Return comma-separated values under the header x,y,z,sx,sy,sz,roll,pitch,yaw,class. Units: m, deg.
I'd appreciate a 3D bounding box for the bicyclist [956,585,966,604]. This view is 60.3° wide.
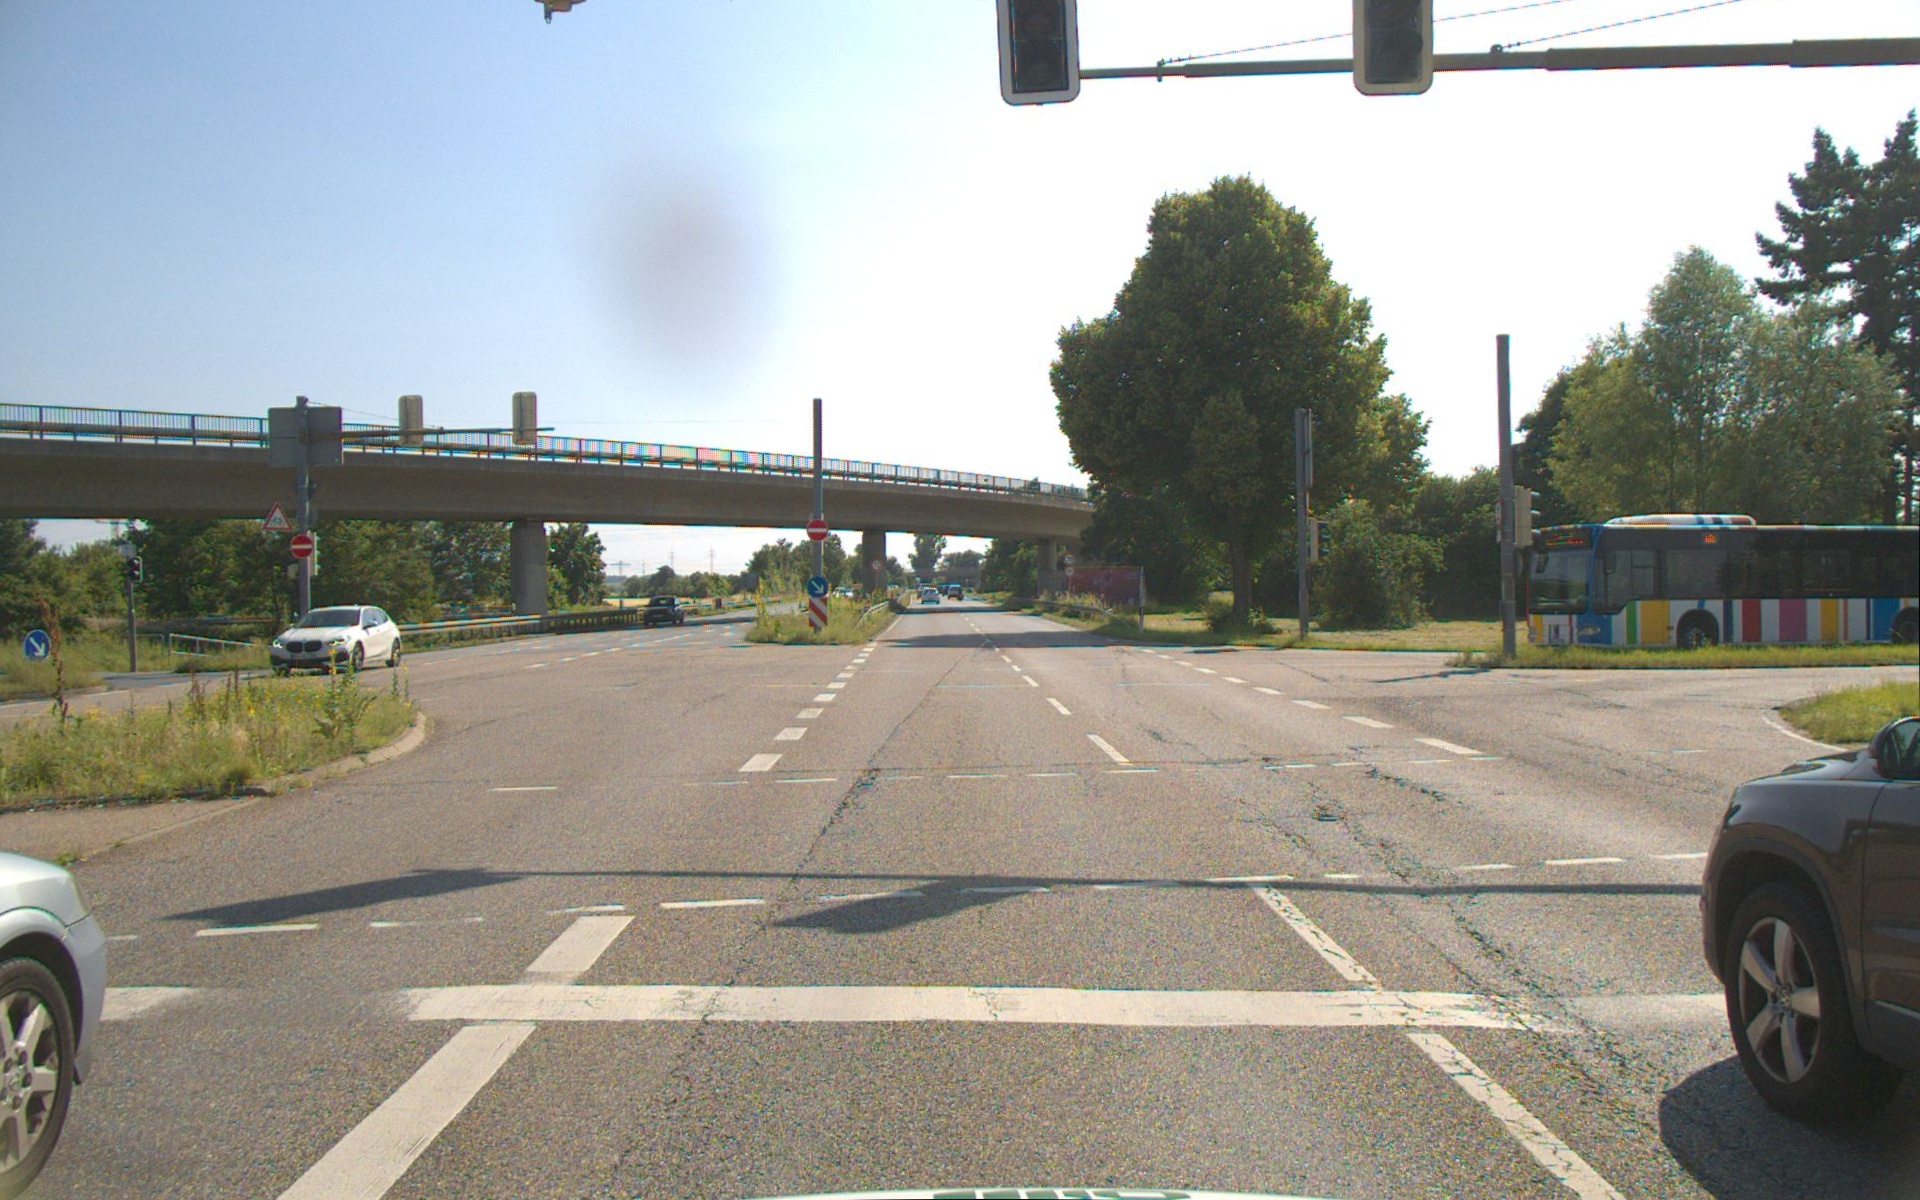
x,y,z,sx,sy,sz,roll,pitch,yaw,class
0.095,-0.588,177.473,0.986,1.919,1.326,-2,0,-1,bicyclist

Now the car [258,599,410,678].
x,y,z,sx,sy,sz,roll,pitch,yaw,class
-13.955,0.808,37.132,1.845,1.541,4.146,-4,0,-2,car

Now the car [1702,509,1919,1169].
x,y,z,sx,sy,sz,roll,pitch,yaw,class
3.339,0.625,3.348,1.720,1.684,4.145,1,0,-2,car

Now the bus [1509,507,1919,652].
x,y,z,sx,sy,sz,roll,pitch,yaw,class
18.502,-0.539,37.727,11.744,2.927,2.929,-2,0,-16,bus

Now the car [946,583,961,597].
x,y,z,sx,sy,sz,roll,pitch,yaw,class
-0.796,-1.177,201.727,1.835,1.668,4.000,0,0,0,car

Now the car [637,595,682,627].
x,y,z,sx,sy,sz,roll,pitch,yaw,class
-15.368,0.537,84.813,1.582,1.467,3.775,-3,0,-1,car

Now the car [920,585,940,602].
x,y,z,sx,sy,sz,roll,pitch,yaw,class
-2.776,-0.610,154.578,1.813,1.486,4.000,0,0,0,car

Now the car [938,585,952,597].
x,y,z,sx,sy,sz,roll,pitch,yaw,class
-2.139,-1.257,234.747,1.953,1.660,3.999,1,0,-1,car

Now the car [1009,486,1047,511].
x,y,z,sx,sy,sz,roll,pitch,yaw,class
4.568,-6.782,110.501,1.294,1.512,3.194,-1,0,28,car

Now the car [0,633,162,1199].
x,y,z,sx,sy,sz,roll,pitch,yaw,class
-3.088,0.808,2.636,1.639,1.358,4.097,-2,0,0,car

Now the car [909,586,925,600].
x,y,z,sx,sy,sz,roll,pitch,yaw,class
-5.126,-0.898,197.881,1.835,1.668,4.000,0,0,0,car
